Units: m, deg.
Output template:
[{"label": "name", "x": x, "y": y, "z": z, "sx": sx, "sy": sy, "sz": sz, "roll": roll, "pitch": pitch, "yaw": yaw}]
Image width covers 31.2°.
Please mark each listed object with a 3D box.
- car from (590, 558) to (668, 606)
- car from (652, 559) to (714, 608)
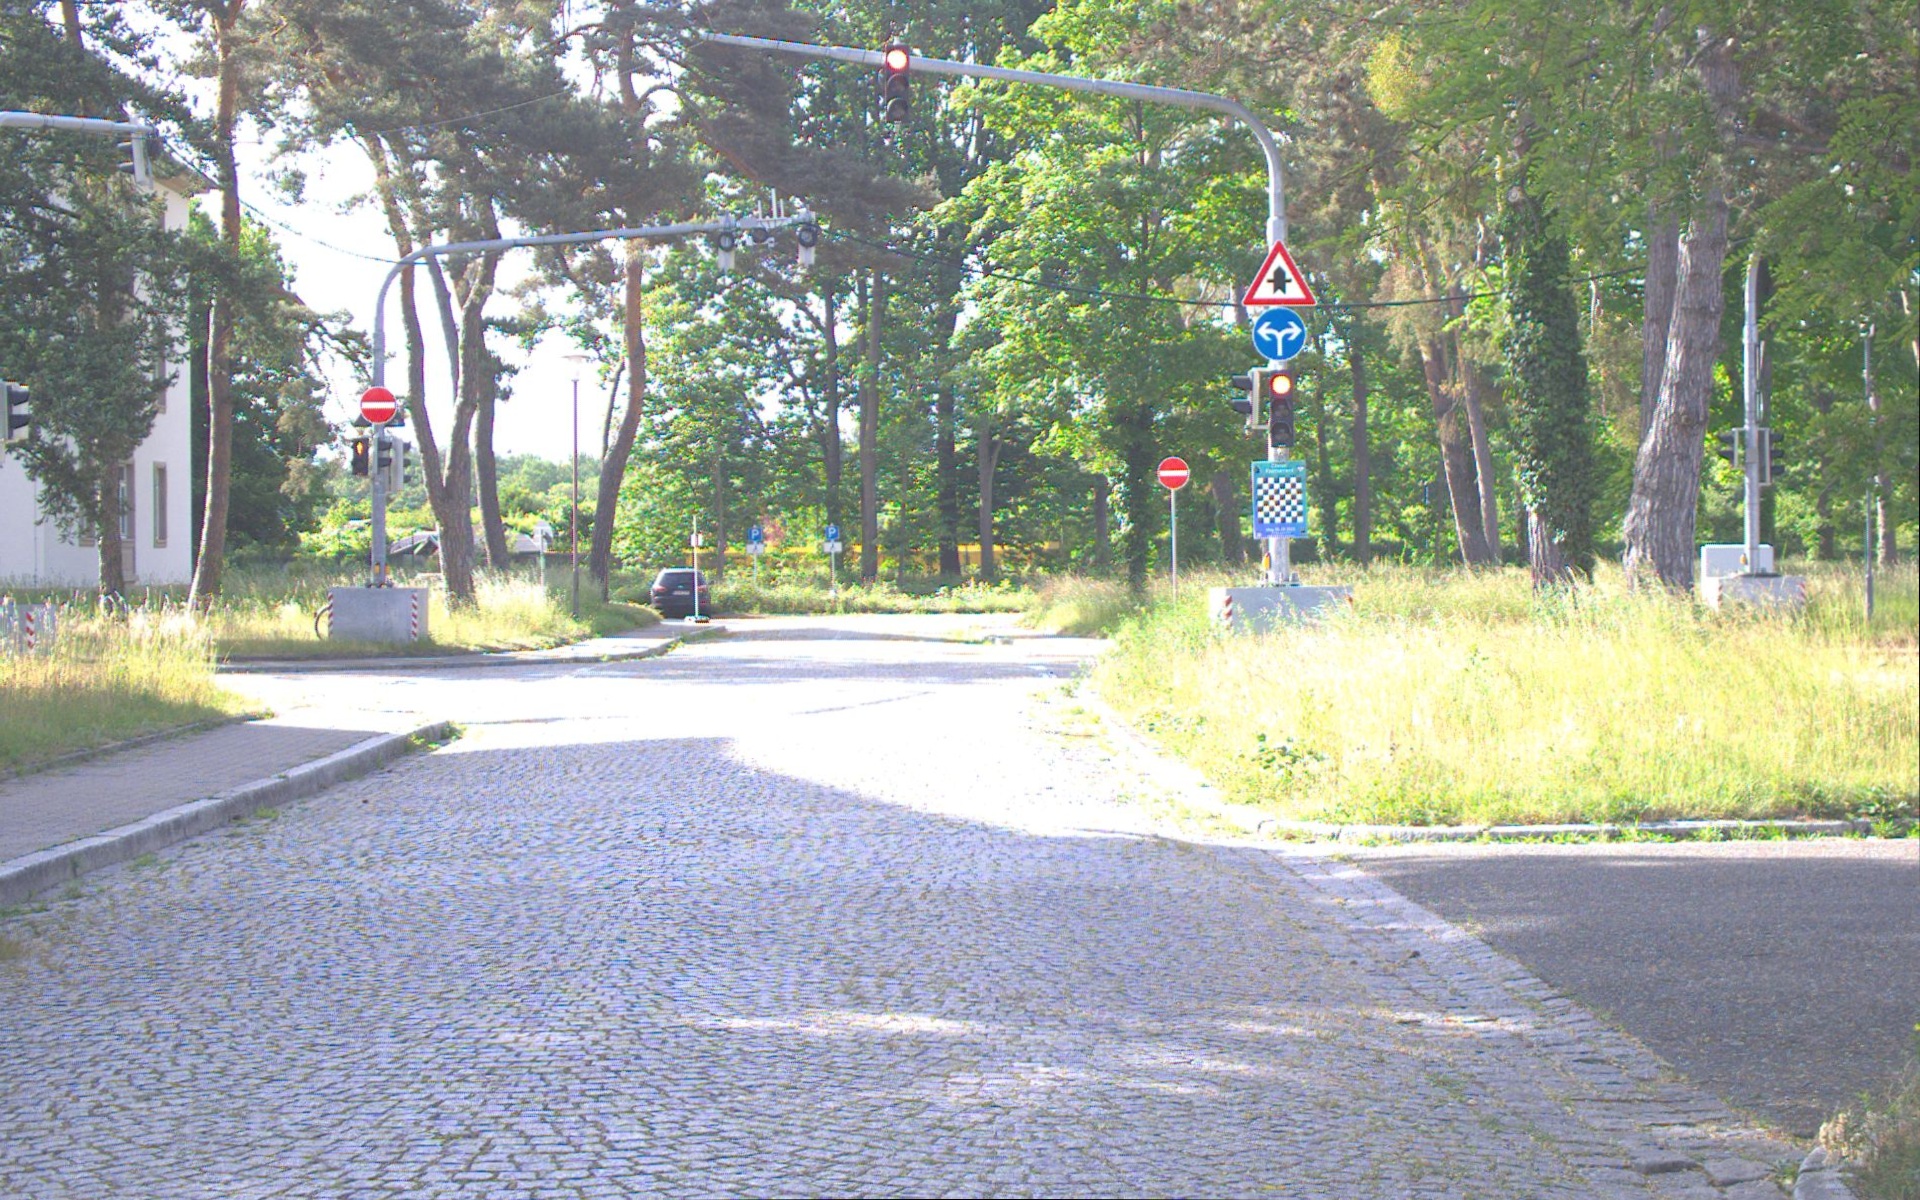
[{"label": "car", "x": -10.651, "y": -0.588, "z": 110.682, "sx": 1.783, "sy": 1.485, "sz": 3.754, "roll": 0, "pitch": 1, "yaw": 6}, {"label": "car", "x": -8.522, "y": -0.520, "z": 105.974, "sx": 1.844, "sy": 1.481, "sz": 4.001, "roll": 0, "pitch": 1, "yaw": -4}]
